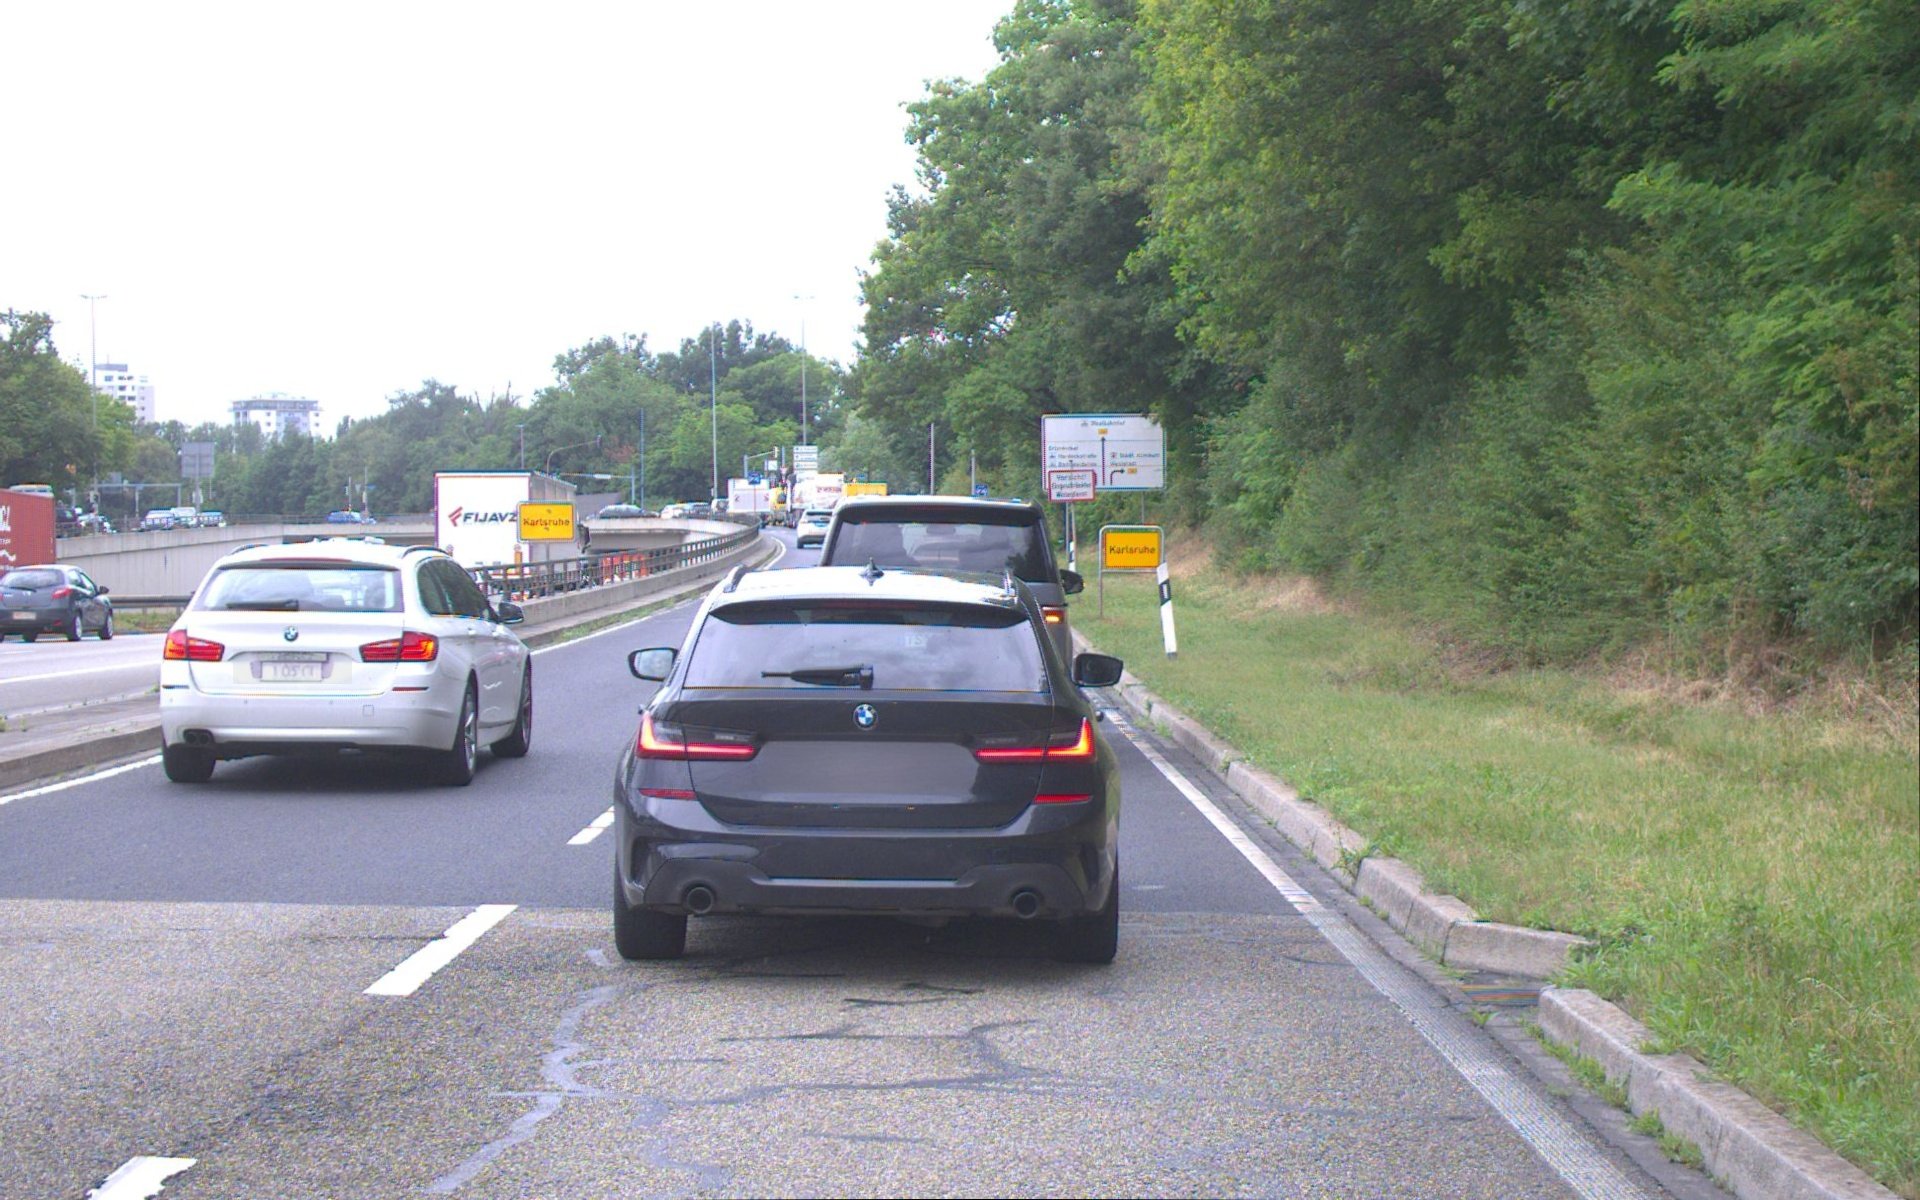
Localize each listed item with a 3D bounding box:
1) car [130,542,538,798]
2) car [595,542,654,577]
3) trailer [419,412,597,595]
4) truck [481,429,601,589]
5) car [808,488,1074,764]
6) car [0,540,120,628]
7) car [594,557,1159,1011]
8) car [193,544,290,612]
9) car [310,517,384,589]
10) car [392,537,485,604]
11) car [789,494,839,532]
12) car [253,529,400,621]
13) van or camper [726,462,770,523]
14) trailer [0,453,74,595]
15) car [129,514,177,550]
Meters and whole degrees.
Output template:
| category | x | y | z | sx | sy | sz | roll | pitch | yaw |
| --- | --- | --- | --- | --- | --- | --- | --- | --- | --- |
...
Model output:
| category | x | y | z | sx | sy | sz | roll | pitch | yaw |
| --- | --- | --- | --- | --- | --- | --- | --- | --- | --- |
| car | -3.935 | 0.367 | 22.406 | 1.859 | 1.459 | 4.885 | 1 | 1 | -1 |
| car | -19.369 | -2.350 | 198.120 | 3.202 | 2.021 | 5.077 | 0 | 1 | -7 |
| trailer | -12.569 | -2.630 | 96.963 | 3.132 | 4.709 | 14.559 | 1 | 1 | 0 |
| truck | -12.683 | -2.735 | 104.437 | 3.084 | 4.681 | 4.232 | 1 | 1 | 0 |
| car | -0.136 | 0.146 | 25.391 | 1.796 | 1.865 | 4.000 | 0 | 1 | 0 |
| car | -17.450 | -0.327 | 66.100 | 1.687 | 1.602 | 4.008 | 1 | 1 | -1 |
| car | -0.342 | 0.587 | 13.372 | 1.846 | 1.462 | 4.000 | 1 | 1 | -2 |
| car | -17.880 | -0.564 | 85.692 | 1.687 | 1.626 | 3.735 | 1 | 1 | -1 |
| car | -17.659 | -1.375 | 99.186 | 1.443 | 2.037 | 3.680 | 0 | 1 | 1 |
| car | -12.334 | -0.721 | 81.497 | 1.768 | 1.544 | 3.493 | 0 | 1 | -1 |
| car | -6.163 | -3.658 | 145.467 | 1.931 | 1.590 | 3.877 | 0 | 1 | 1 |
| car | -12.001 | -0.509 | 65.408 | 1.946 | 1.686 | 4.507 | 0 | 1 | 0 |
| van or camper | -9.991 | -5.081 | 162.457 | 1.993 | 2.811 | 4.001 | 0 | 1 | -2 |
| trailer | -28.830 | -2.206 | 99.885 | 2.764 | 4.050 | 13.354 | 0 | 1 | 0 |
| car | -42.015 | -3.526 | 179.021 | 1.655 | 1.830 | 3.622 | 0 | 1 | 0 |
